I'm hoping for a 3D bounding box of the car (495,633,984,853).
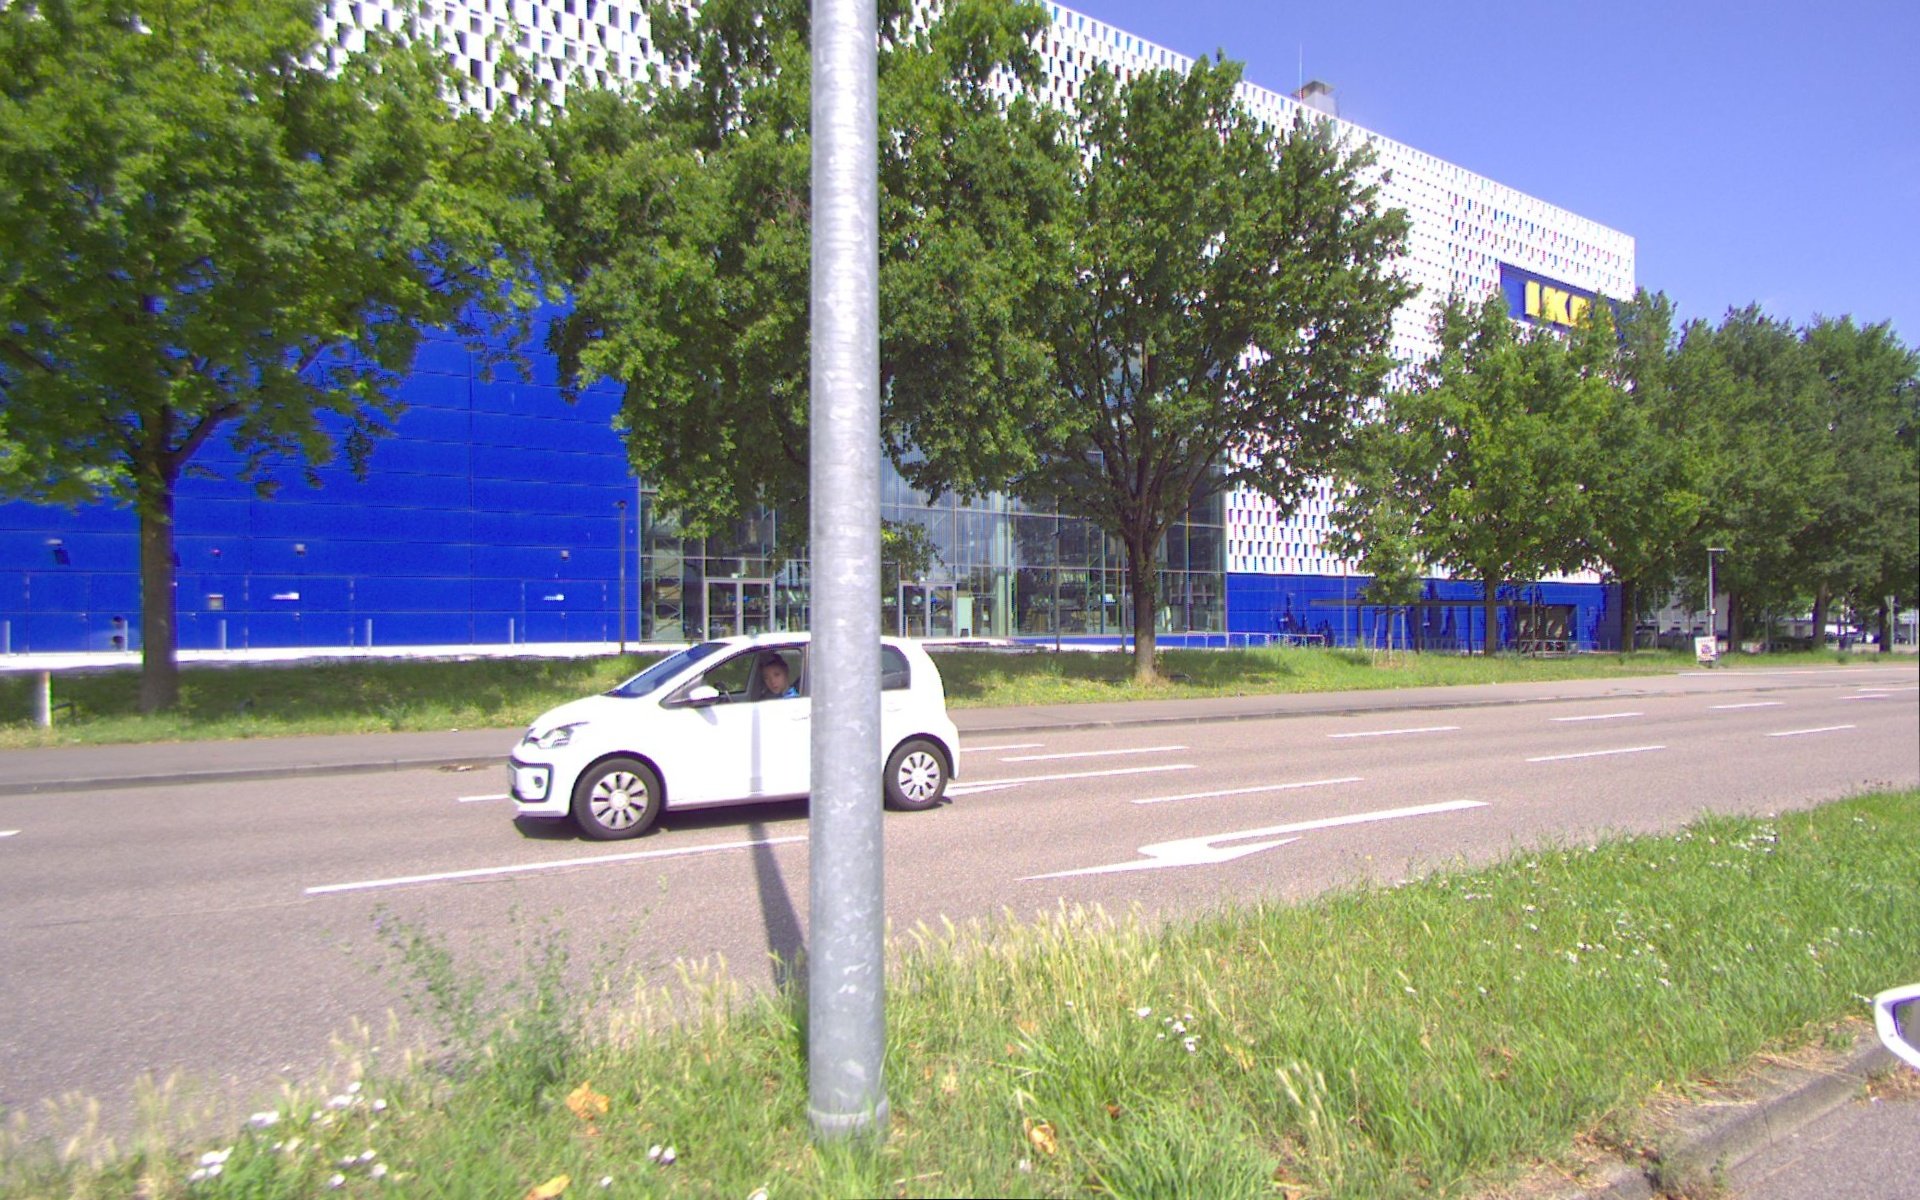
[{"bbox_3d":[-1.766,1.015,8.287,3.628,1.447,1.635,1,-3,-31],"label":"car"}]
